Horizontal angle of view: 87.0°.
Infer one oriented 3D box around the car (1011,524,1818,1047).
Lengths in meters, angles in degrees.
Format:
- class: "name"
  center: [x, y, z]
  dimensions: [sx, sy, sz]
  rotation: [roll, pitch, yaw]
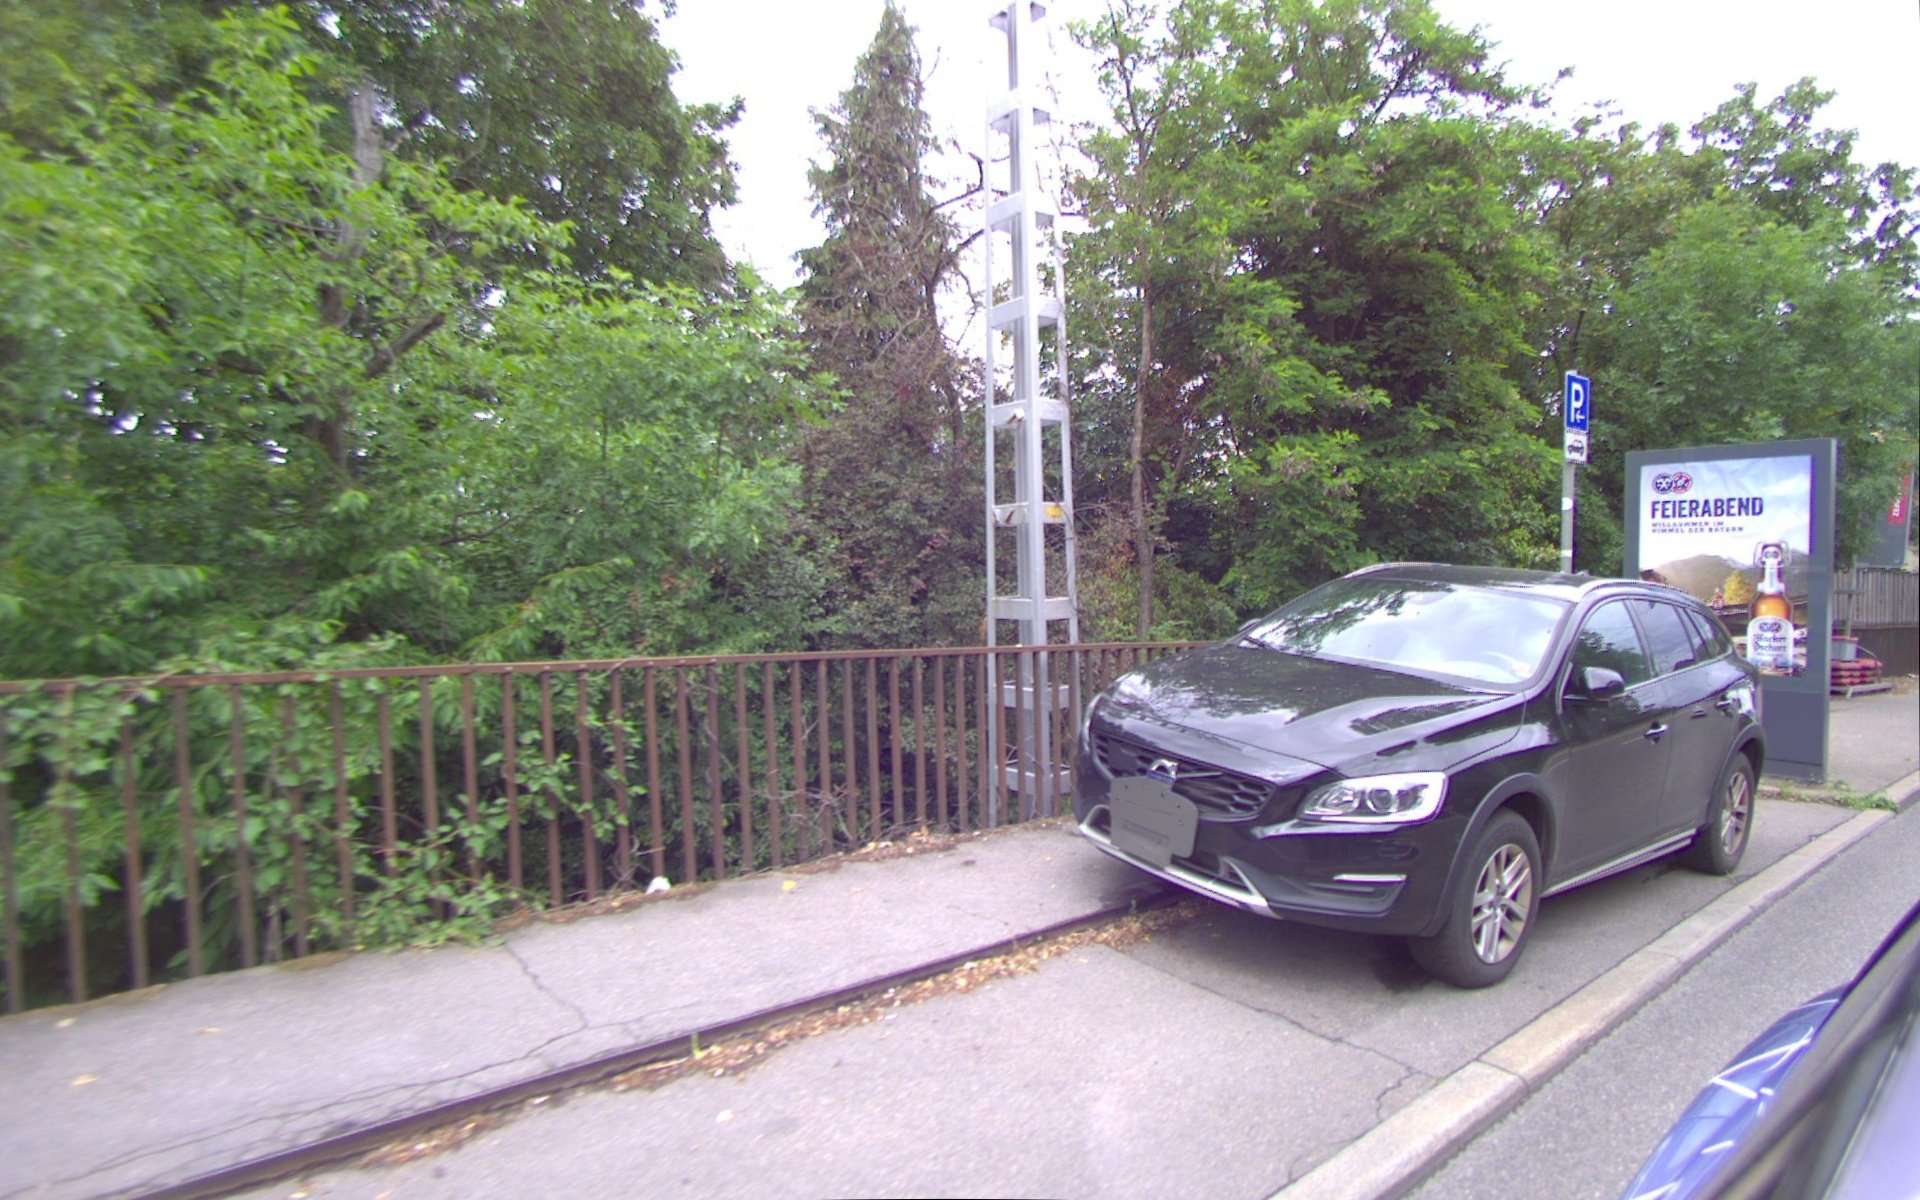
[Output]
- class: "car"
  center: [2.511, 0.537, 5.097]
  dimensions: [4.312, 1.539, 1.772]
  rotation: [0, 5, -37]
